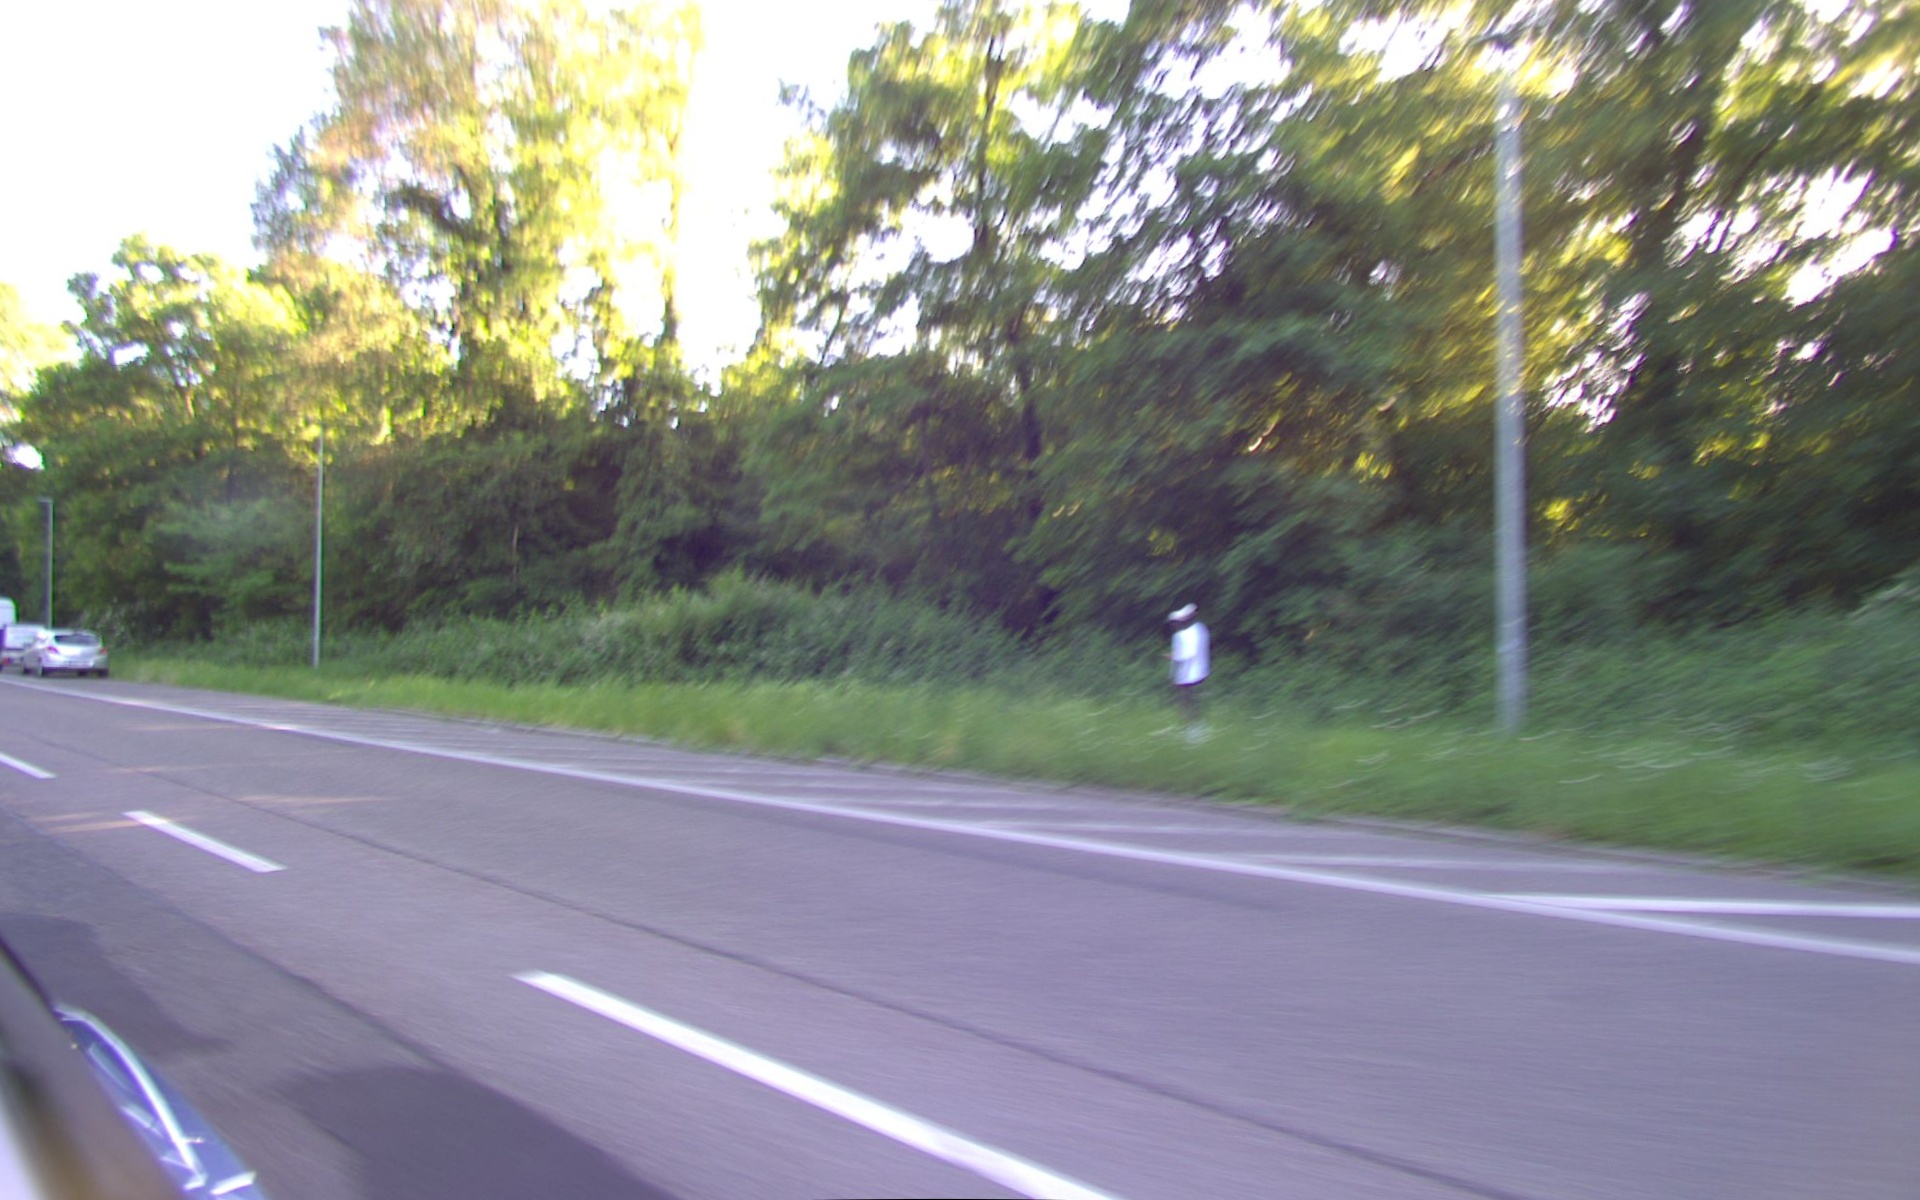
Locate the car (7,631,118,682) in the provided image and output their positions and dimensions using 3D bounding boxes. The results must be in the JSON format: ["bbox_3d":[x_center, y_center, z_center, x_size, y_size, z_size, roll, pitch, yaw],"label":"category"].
[{"bbox_3d":[-28.786,1.775,32.421,4.005,1.475,1.892,0,-2,37],"label":"car"}]

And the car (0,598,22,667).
[{"bbox_3d":[-42.281,1.360,43.204,4.791,2.869,2.431,0,-2,37],"label":"car"}]

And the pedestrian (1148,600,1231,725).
[{"bbox_3d":[3.016,0.799,13.301,0.825,1.577,0.704,-1,-2,41],"label":"pedestrian"}]

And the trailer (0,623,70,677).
[{"bbox_3d":[-32.756,1.709,35.365,3.642,1.742,1.785,0,-2,37],"label":"trailer"}]
